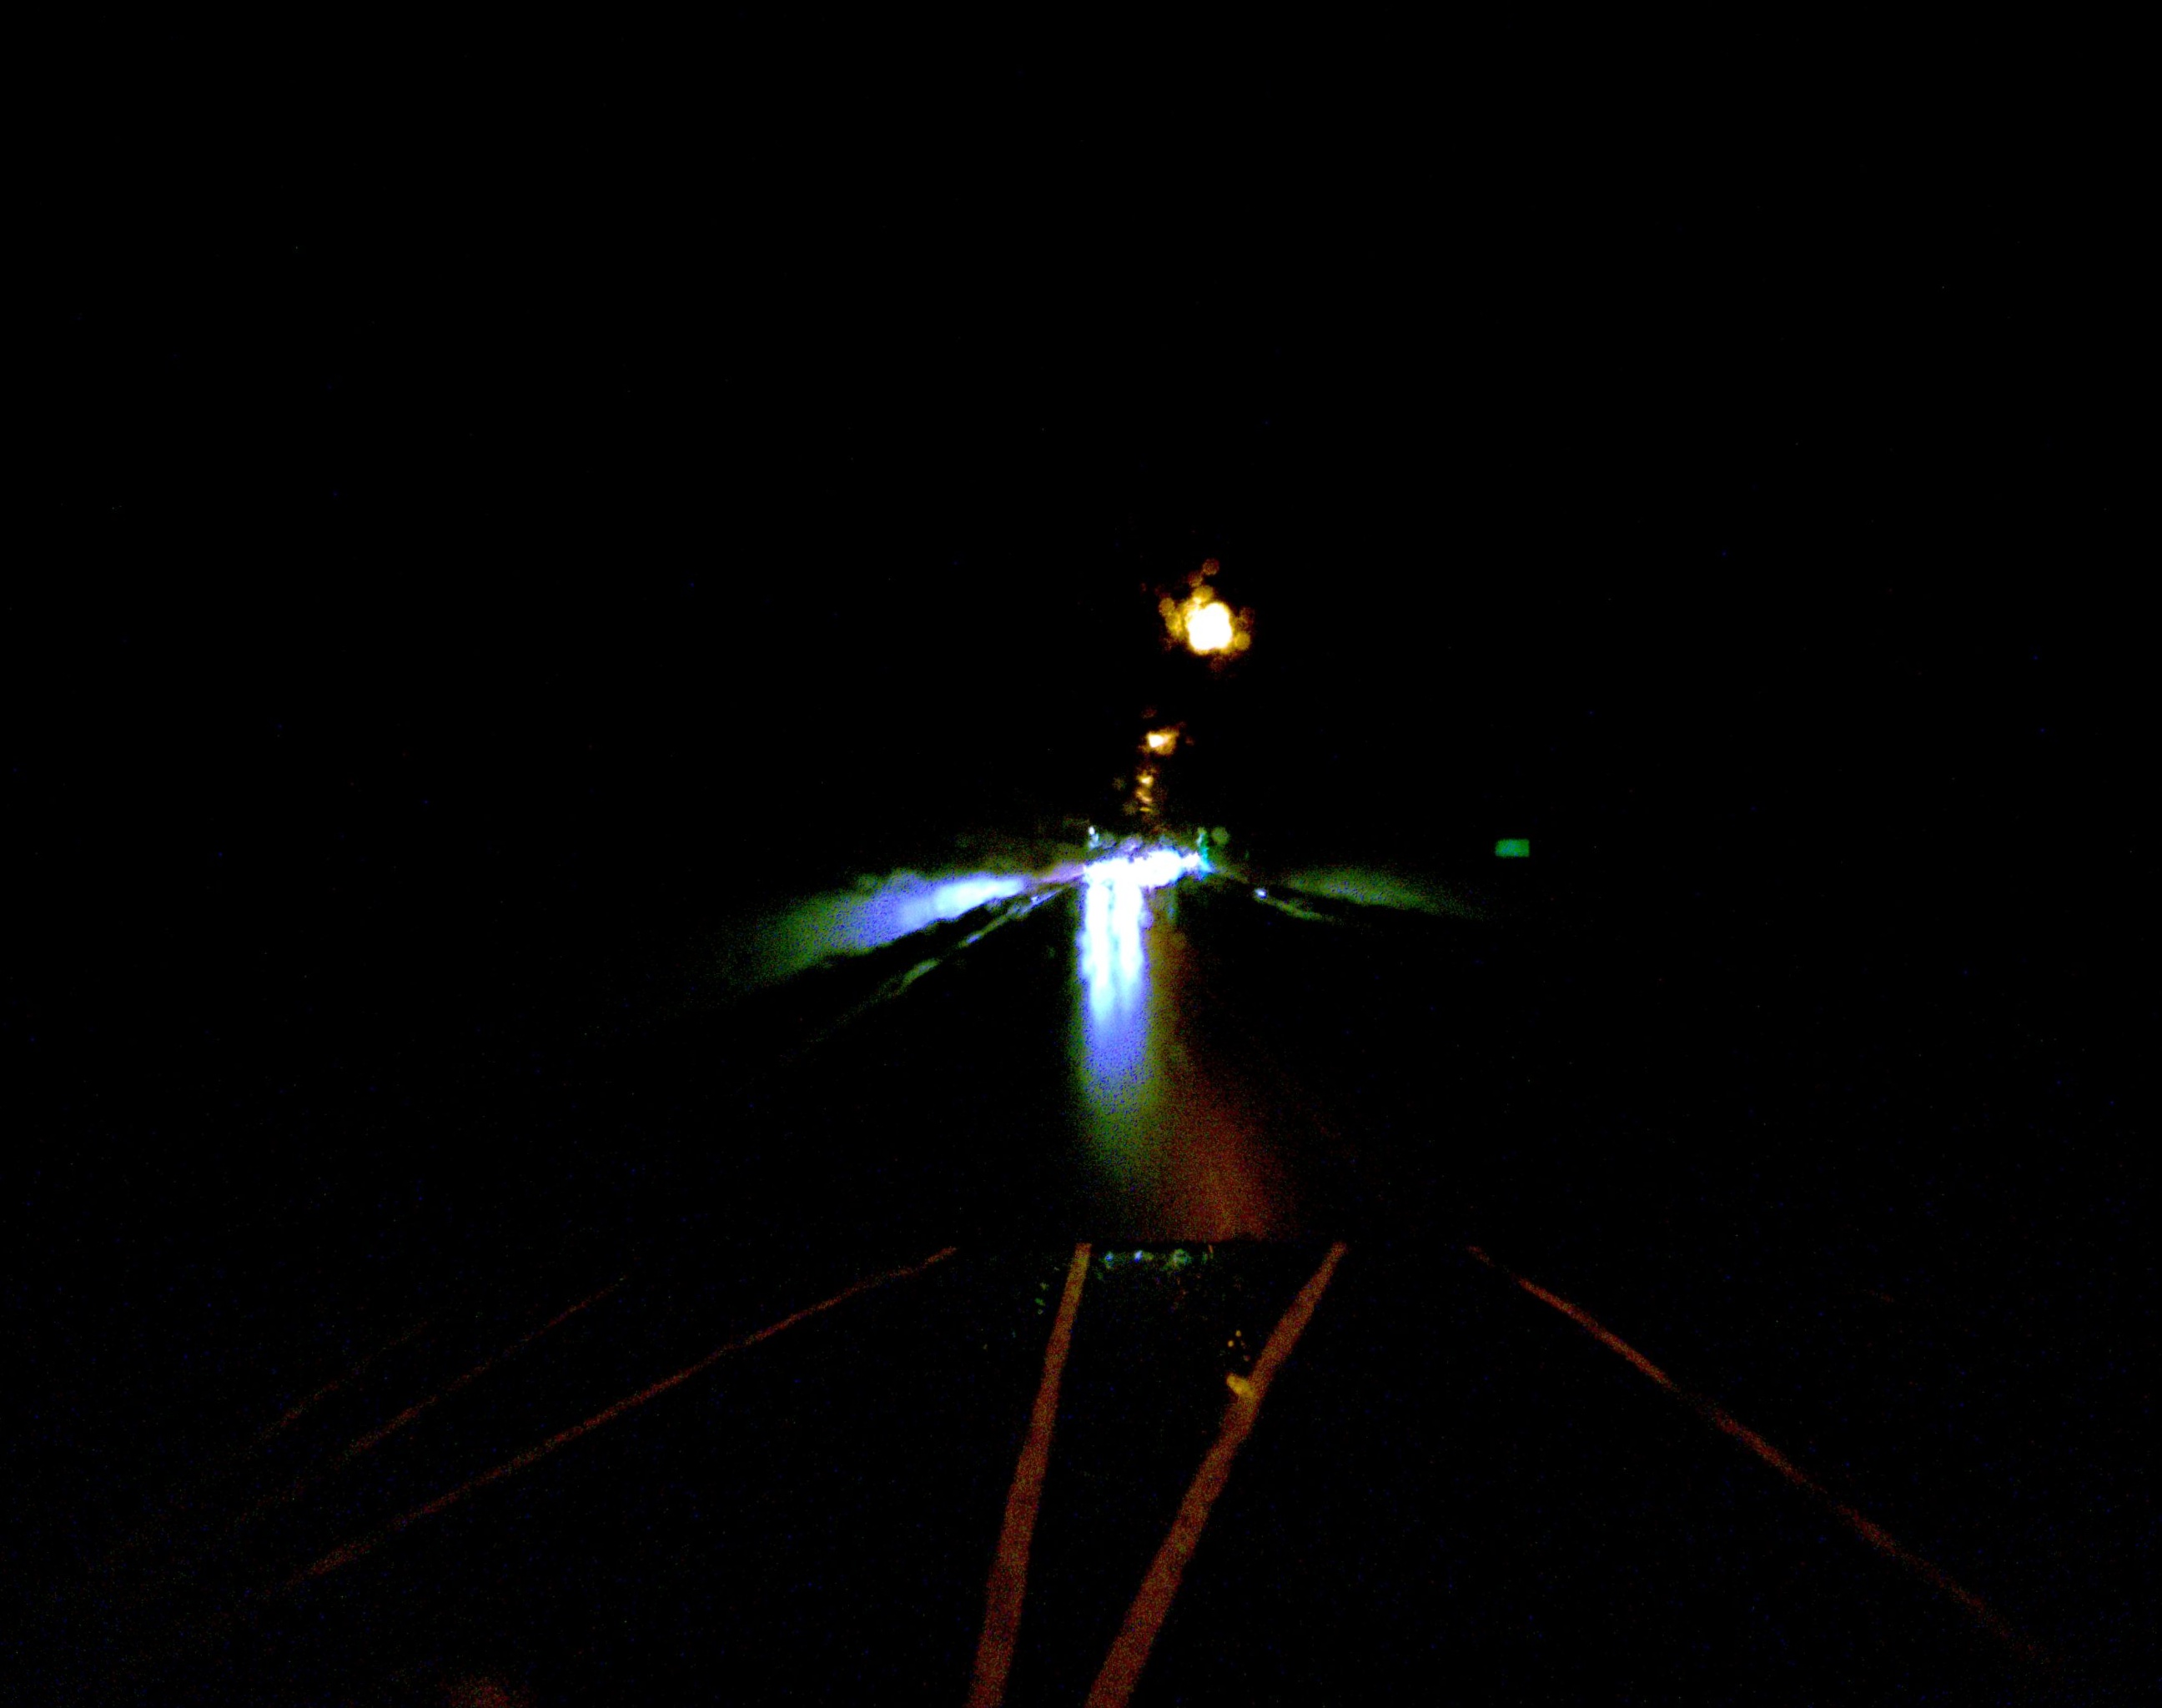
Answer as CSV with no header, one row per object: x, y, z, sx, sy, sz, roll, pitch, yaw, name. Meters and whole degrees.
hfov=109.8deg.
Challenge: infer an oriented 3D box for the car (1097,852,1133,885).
1.841,0.743,40.935,1.730,1.595,4.000,-3,1,3,car
